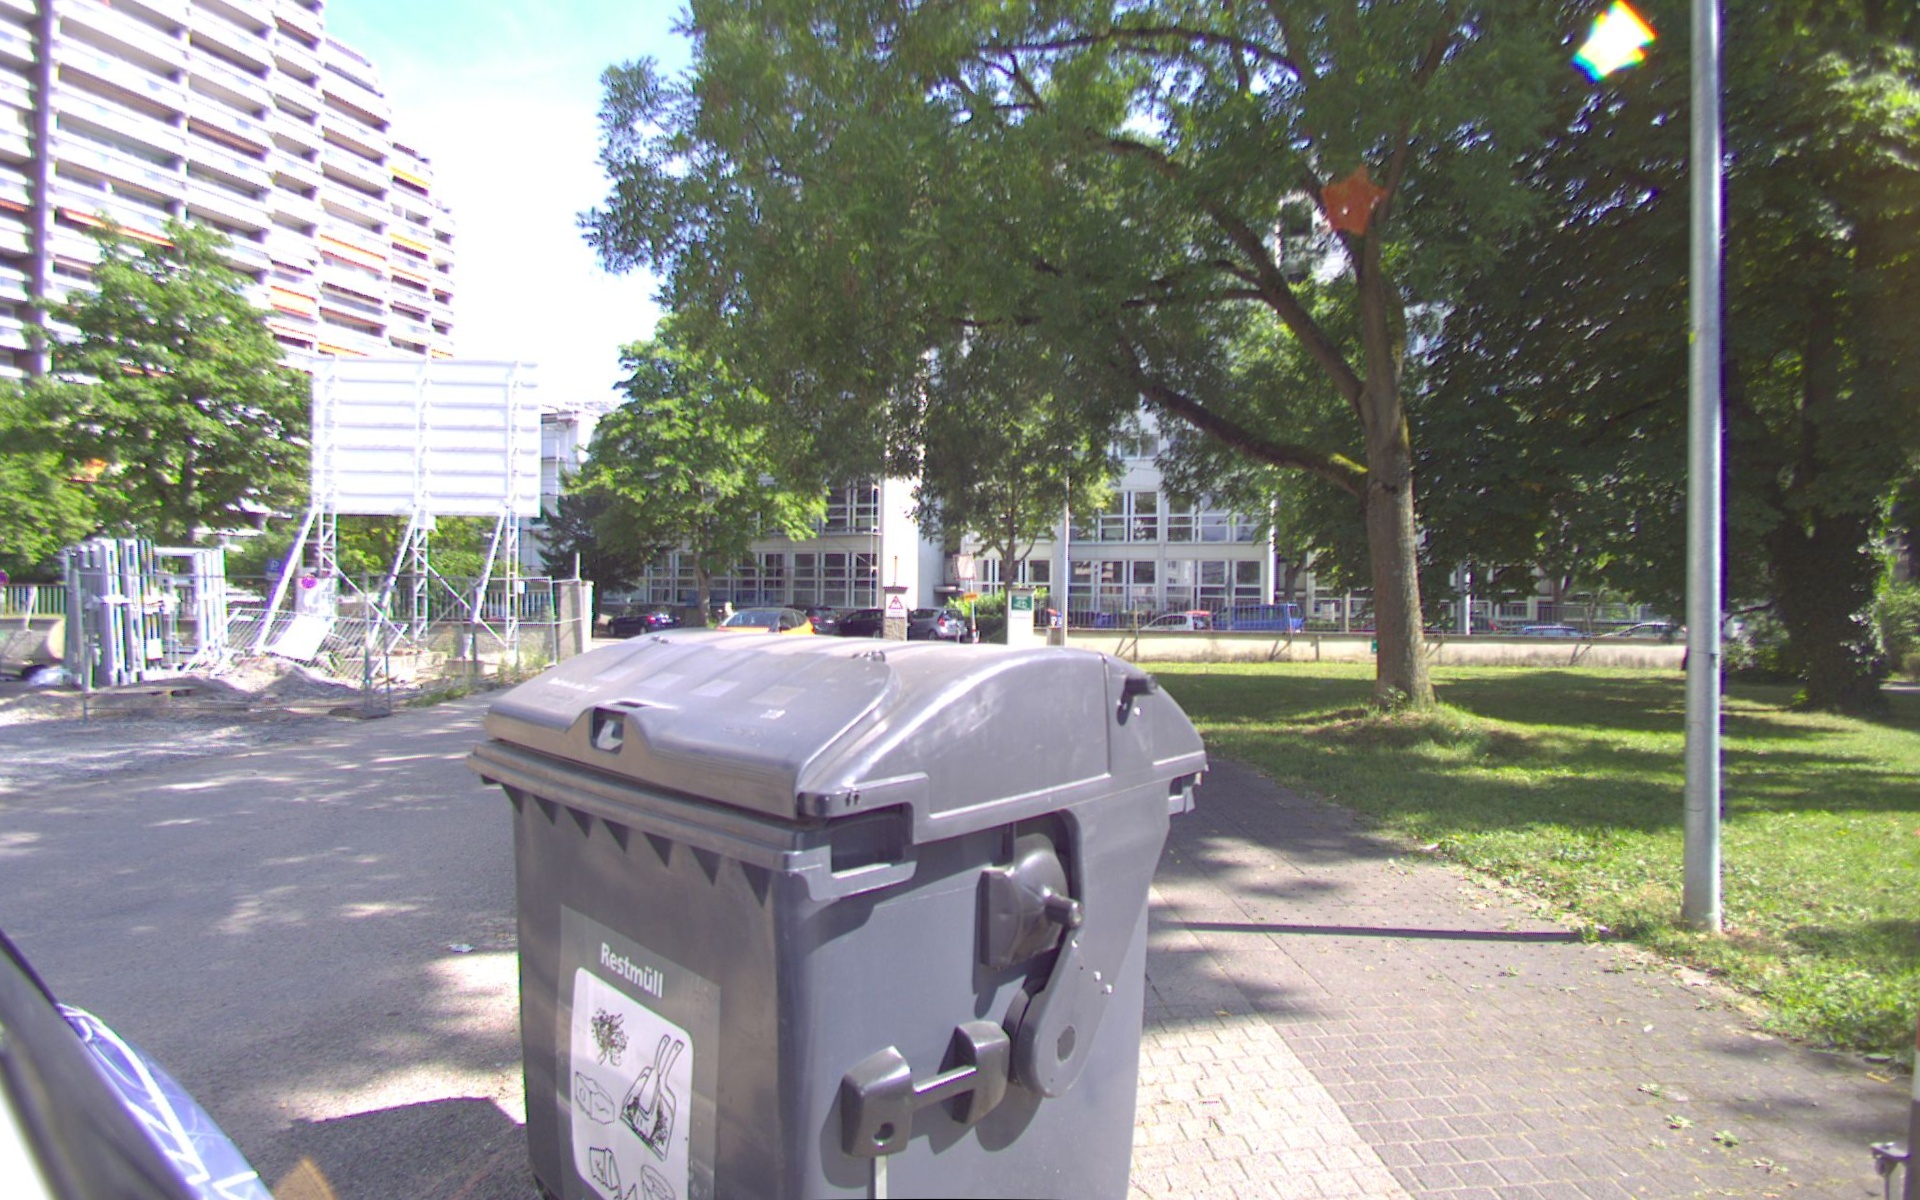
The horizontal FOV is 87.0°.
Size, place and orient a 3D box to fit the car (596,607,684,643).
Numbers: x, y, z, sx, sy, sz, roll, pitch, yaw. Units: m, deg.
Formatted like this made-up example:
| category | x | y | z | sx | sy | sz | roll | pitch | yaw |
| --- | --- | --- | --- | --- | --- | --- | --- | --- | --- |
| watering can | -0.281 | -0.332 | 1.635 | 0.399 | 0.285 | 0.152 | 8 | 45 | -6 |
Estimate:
| category | x | y | z | sx | sy | sz | roll | pitch | yaw |
| --- | --- | --- | --- | --- | --- | --- | --- | --- | --- |
| car | -13.644 | 1.047 | 43.124 | 3.995 | 1.463 | 1.633 | 0 | -1 | 39 |

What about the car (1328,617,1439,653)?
| category | x | y | z | sx | sy | sz | roll | pitch | yaw |
| --- | --- | --- | --- | --- | --- | --- | --- | --- | --- |
| car | 18.839 | 1.529 | 45.103 | 4.217 | 1.550 | 1.758 | -1 | -2 | 40 |

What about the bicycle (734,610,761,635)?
| category | x | y | z | sx | sy | sz | roll | pitch | yaw |
| --- | --- | --- | --- | --- | --- | --- | --- | --- | --- |
| bicycle | -10.572 | 1.133 | 50.400 | 0.485 | 1.209 | 2.007 | 0 | -1 | 15 |

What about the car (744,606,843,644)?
| category | x | y | z | sx | sy | sz | roll | pitch | yaw |
| --- | --- | --- | --- | --- | --- | --- | --- | --- | --- |
| car | -7.228 | 1.035 | 43.847 | 4.386 | 1.577 | 1.784 | 0 | -1 | 39 |

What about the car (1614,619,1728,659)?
| category | x | y | z | sx | sy | sz | roll | pitch | yaw |
| --- | --- | --- | --- | --- | --- | --- | --- | --- | --- |
| car | 32.246 | 1.735 | 45.945 | 4.002 | 1.674 | 1.803 | 0 | -1 | 44 |

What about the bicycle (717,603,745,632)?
| category | x | y | z | sx | sy | sz | roll | pitch | yaw |
| --- | --- | --- | --- | --- | --- | --- | --- | --- | --- |
| bicycle | -11.481 | 0.882 | 50.817 | 0.485 | 1.389 | 2.007 | 0 | -1 | 15 |

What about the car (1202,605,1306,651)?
| category | x | y | z | sx | sy | sz | roll | pitch | yaw |
| --- | --- | --- | --- | --- | --- | --- | --- | --- | --- |
| car | 12.845 | 1.205 | 44.329 | 3.997 | 1.921 | 1.763 | -1 | -2 | 40 |

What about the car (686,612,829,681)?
| category | x | y | z | sx | sy | sz | roll | pitch | yaw |
| --- | --- | --- | --- | --- | --- | --- | --- | --- | --- |
| car | -4.533 | 1.036 | 23.332 | 1.646 | 1.423 | 4.156 | 0 | -2 | 14 |

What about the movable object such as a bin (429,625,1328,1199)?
| category | x | y | z | sx | sy | sz | roll | pitch | yaw |
| --- | --- | --- | --- | --- | --- | --- | --- | --- | --- |
| movable object such as a bin | -0.171 | 0.771 | 2.102 | 1.404 | 1.407 | 1.231 | 0 | -1 | 42 |

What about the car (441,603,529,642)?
| category | x | y | z | sx | sy | sz | roll | pitch | yaw |
| --- | --- | --- | --- | --- | --- | --- | --- | --- | --- |
| car | -20.015 | 0.909 | 42.612 | 4.144 | 1.421 | 1.818 | 2 | 2 | 40 |

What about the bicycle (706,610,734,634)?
| category | x | y | z | sx | sy | sz | roll | pitch | yaw |
| --- | --- | --- | --- | --- | --- | --- | --- | --- | --- |
| bicycle | -12.072 | 1.097 | 50.894 | 0.485 | 1.209 | 2.007 | 0 | -1 | 15 |

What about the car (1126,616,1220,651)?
| category | x | y | z | sx | sy | sz | roll | pitch | yaw |
| --- | --- | --- | --- | --- | --- | --- | --- | --- | --- |
| car | 9.336 | 1.444 | 44.535 | 1.682 | 1.474 | 3.858 | 1 | -1 | -38 |

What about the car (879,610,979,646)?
| category | x | y | z | sx | sy | sz | roll | pitch | yaw |
| --- | --- | --- | --- | --- | --- | --- | --- | --- | --- |
| car | -1.402 | 1.197 | 44.721 | 4.338 | 1.497 | 1.777 | 0 | -1 | 41 |

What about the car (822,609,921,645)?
| category | x | y | z | sx | sy | sz | roll | pitch | yaw |
| --- | --- | --- | --- | --- | --- | --- | --- | --- | --- |
| car | -3.875 | 1.153 | 43.919 | 4.179 | 1.487 | 1.779 | 0 | -1 | 38 |
